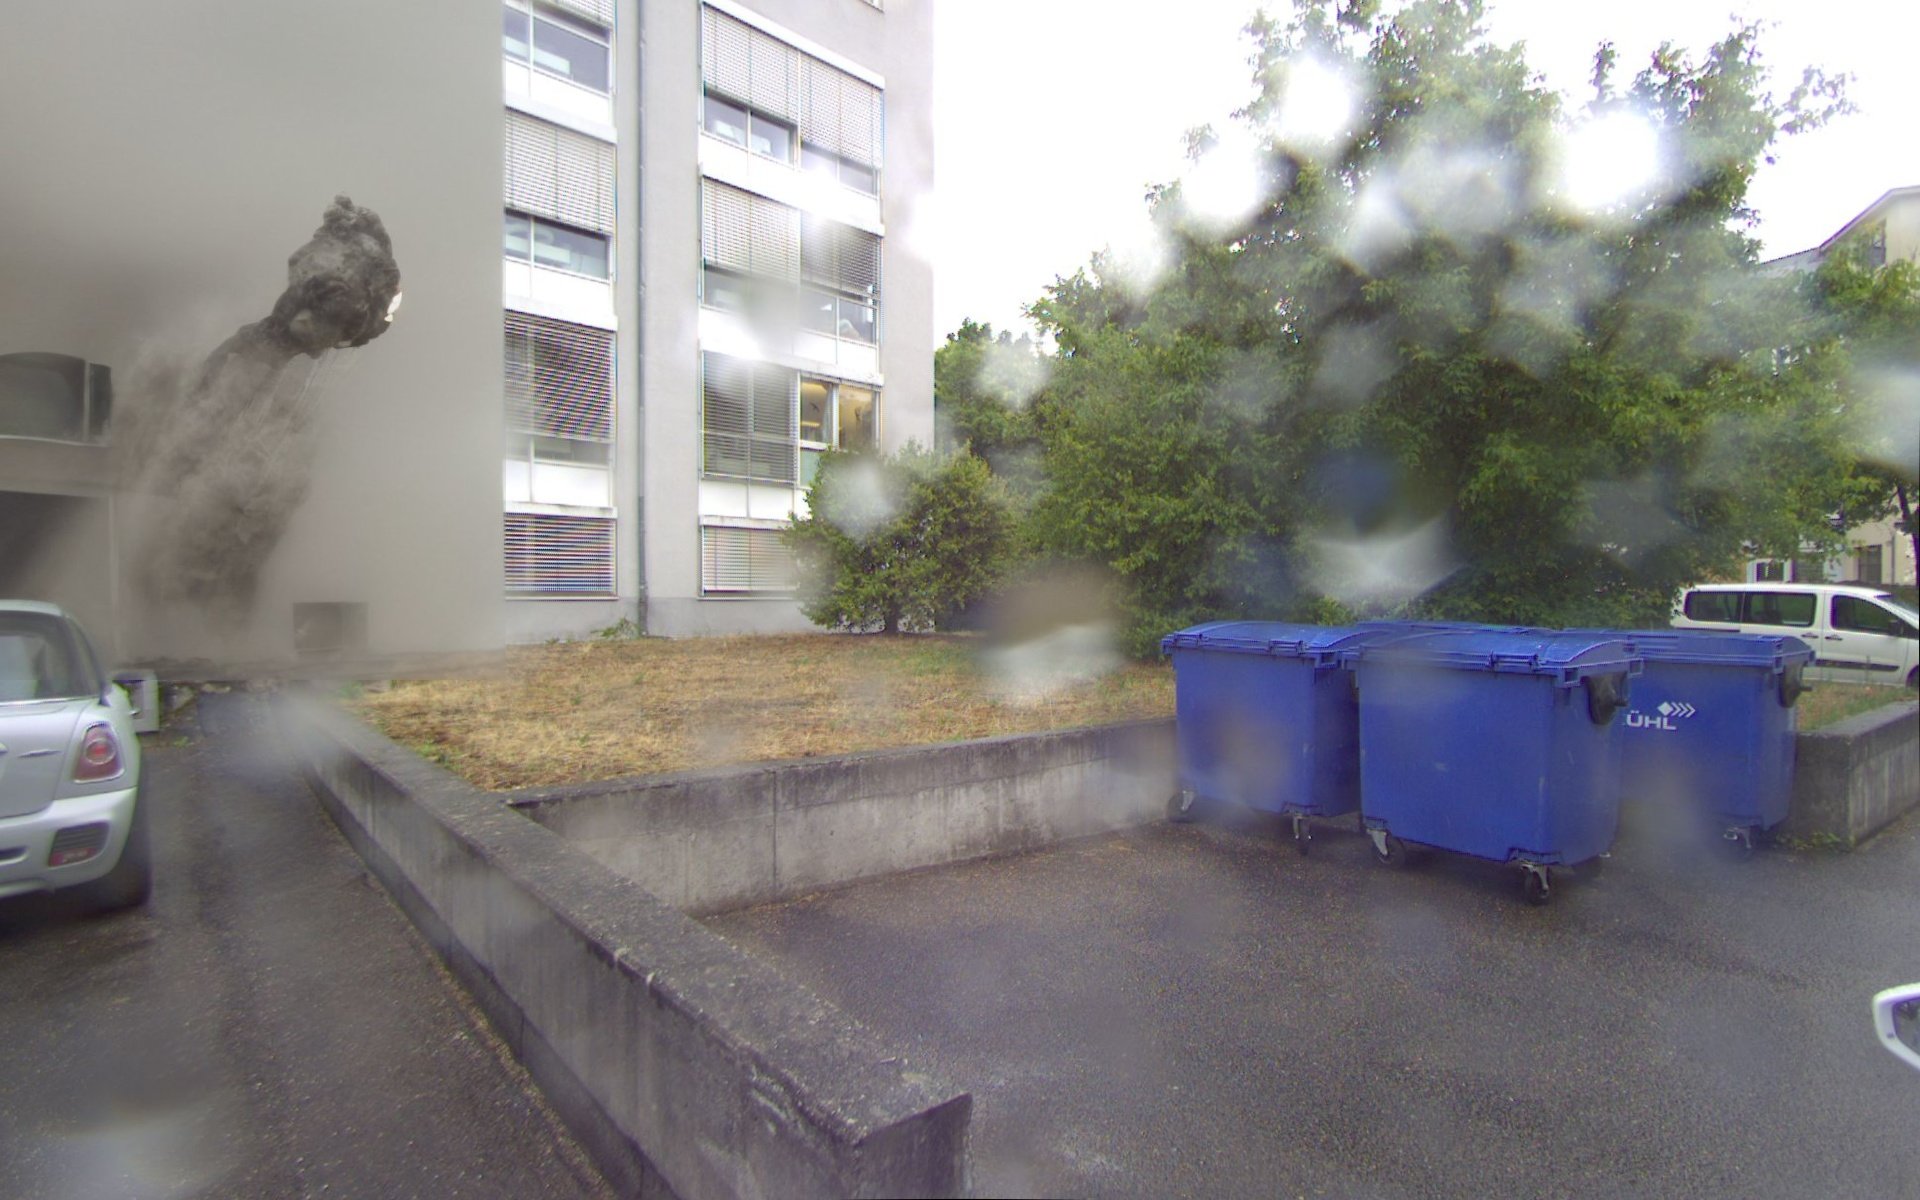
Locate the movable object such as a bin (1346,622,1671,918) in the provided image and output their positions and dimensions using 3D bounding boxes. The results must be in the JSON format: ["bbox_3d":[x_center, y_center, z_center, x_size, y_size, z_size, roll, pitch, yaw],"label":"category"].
[{"bbox_3d":[2.987,0.817,5.521,1.105,1.355,1.195,0,0,-34],"label":"movable object such as a bin"}]

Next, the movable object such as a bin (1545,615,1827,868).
[{"bbox_3d":[4.545,0.790,6.322,0.997,1.355,1.212,-1,1,-38],"label":"movable object such as a bin"}]

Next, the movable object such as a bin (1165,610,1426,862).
[{"bbox_3d":[2.164,0.789,6.544,1.107,1.355,1.193,-2,4,-38],"label":"movable object such as a bin"}]

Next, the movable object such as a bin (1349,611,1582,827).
[{"bbox_3d":[3.647,0.783,7.287,0.997,1.355,1.212,-1,2,-38],"label":"movable object such as a bin"}]

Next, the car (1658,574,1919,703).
[{"bbox_3d":[15.210,0.605,17.421,1.982,2.040,4.745,-1,0,-37],"label":"car"}]

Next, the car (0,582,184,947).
[{"bbox_3d":[-5.536,0.656,5.436,1.808,1.351,4.127,-1,4,-42],"label":"car"}]
